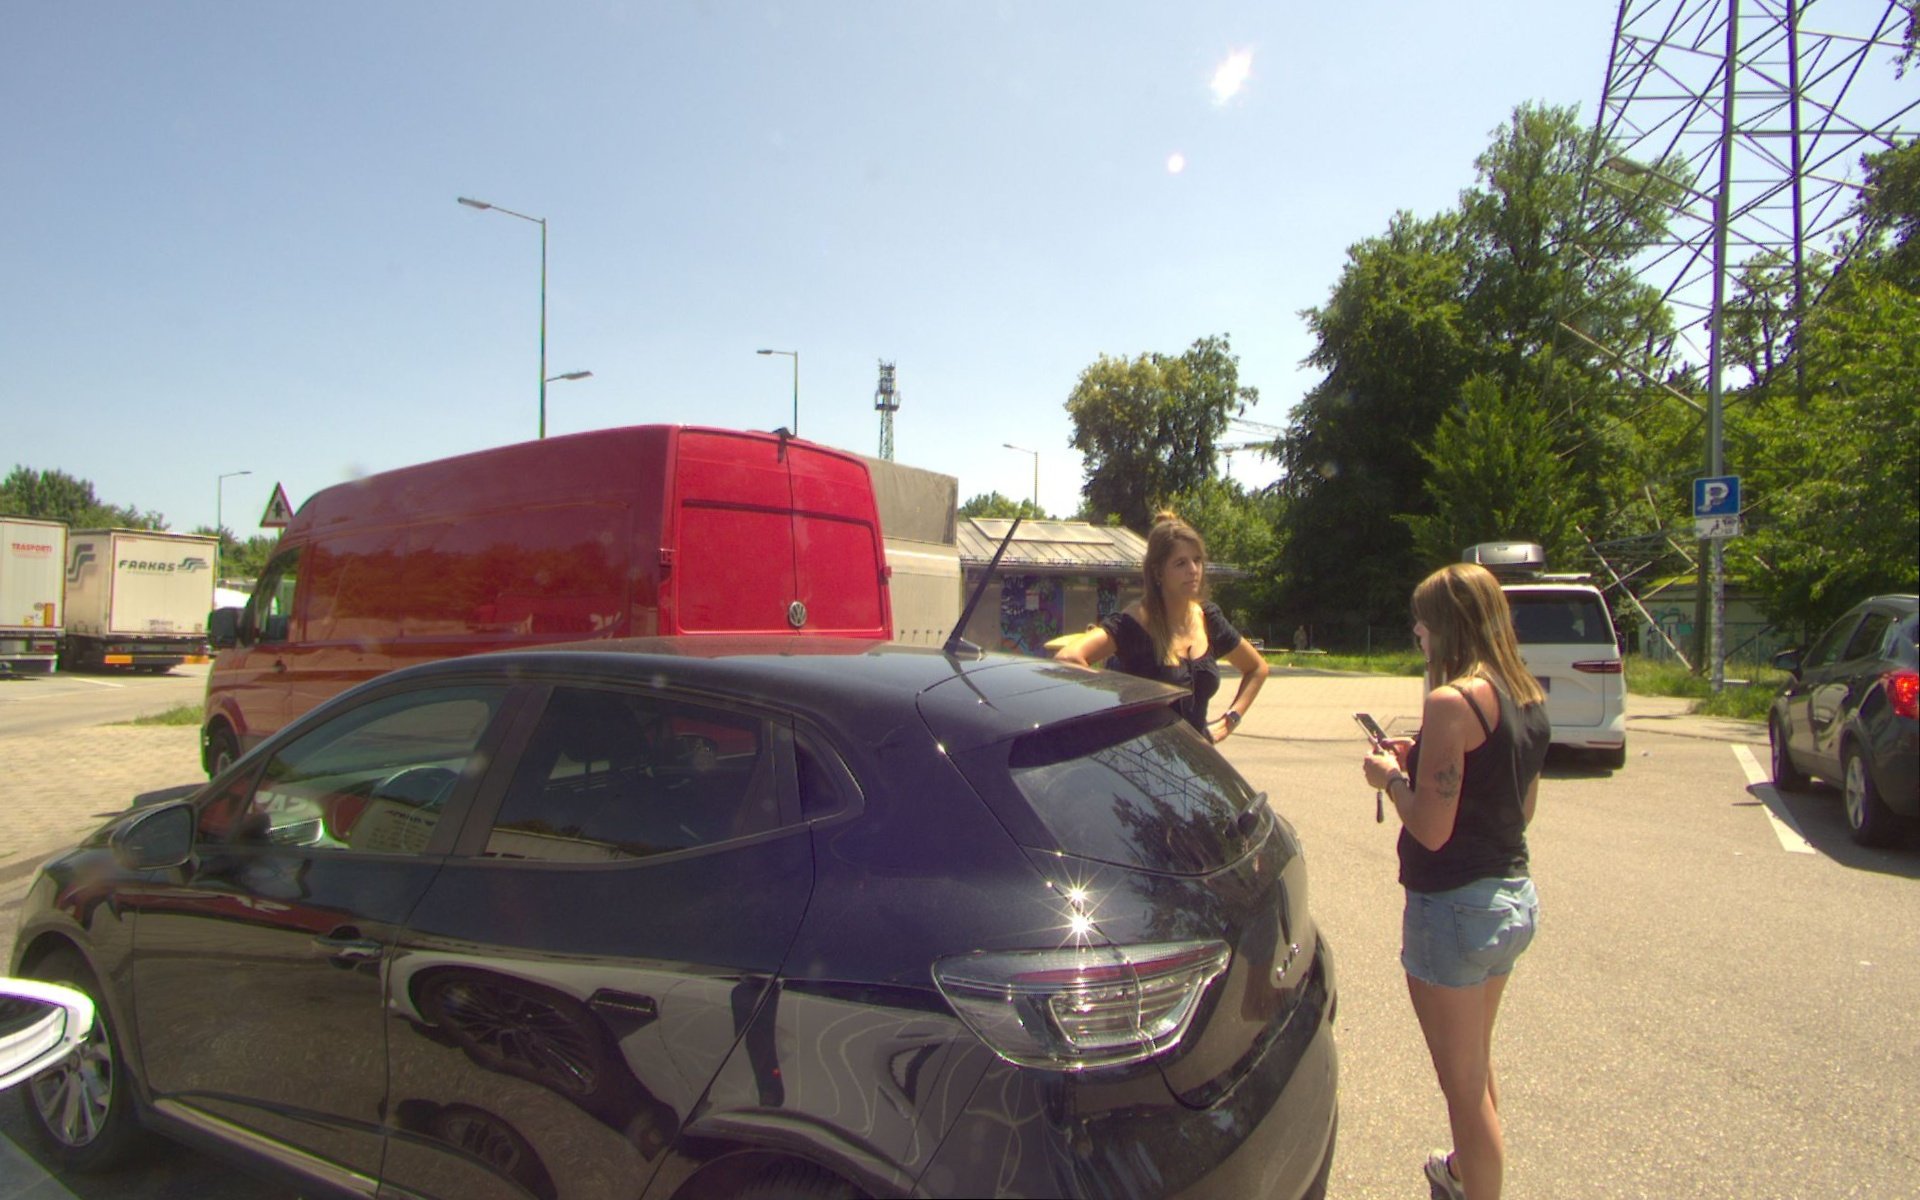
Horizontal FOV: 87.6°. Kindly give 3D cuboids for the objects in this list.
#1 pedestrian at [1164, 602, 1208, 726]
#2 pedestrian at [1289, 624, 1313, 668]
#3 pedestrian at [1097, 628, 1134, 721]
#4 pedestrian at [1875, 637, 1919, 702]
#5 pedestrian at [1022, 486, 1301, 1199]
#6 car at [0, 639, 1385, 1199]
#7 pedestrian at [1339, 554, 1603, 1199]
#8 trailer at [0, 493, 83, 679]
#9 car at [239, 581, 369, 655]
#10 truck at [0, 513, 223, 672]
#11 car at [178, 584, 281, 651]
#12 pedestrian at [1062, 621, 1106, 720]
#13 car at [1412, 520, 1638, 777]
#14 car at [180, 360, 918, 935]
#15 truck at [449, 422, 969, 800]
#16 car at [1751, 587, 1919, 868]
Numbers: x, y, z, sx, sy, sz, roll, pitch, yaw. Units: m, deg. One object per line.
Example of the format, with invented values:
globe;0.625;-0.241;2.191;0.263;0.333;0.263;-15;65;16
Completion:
pedestrian;3.352;0.933;14.846;0.520;1.783;0.651;0;0;23
pedestrian;16.219;2.179;47.669;0.955;2.039;0.829;0;-1;10
pedestrian;2.332;1.106;15.027;0.439;1.362;0.477;0;0;23
pedestrian;17.706;1.282;18.679;0.694;1.178;0.787;-1;-1;22
pedestrian;0.663;0.653;3.151;0.481;1.884;0.906;0;-1;39
car;-0.837;0.852;2.814;3.628;1.476;1.776;-1;-2;27
pedestrian;1.168;0.723;2.307;0.478;1.615;0.501;0;0;29
trailer;-28.505;-0.345;27.797;12.642;4.511;2.677;0;-1;32
car;-29.466;0.775;44.929;6.259;3.114;2.495;0;-1;32
truck;-27.096;-0.030;31.187;11.800;4.279;2.582;-1;-2;32
car;-29.933;0.748;41.012;3.943;2.632;2.111;-1;-2;32
pedestrian;1.895;1.061;15.297;0.521;1.478;0.576;0;0;23
car;6.696;0.511;11.985;1.901;2.401;4.954;1;-1;29
car;-3.393;0.246;7.327;6.298;2.668;1.988;0;-1;36
truck;-2.563;0.170;9.961;4.751;2.863;2.514;-1;-2;34
car;7.264;0.796;7.238;1.811;1.638;4.149;0;-1;30
